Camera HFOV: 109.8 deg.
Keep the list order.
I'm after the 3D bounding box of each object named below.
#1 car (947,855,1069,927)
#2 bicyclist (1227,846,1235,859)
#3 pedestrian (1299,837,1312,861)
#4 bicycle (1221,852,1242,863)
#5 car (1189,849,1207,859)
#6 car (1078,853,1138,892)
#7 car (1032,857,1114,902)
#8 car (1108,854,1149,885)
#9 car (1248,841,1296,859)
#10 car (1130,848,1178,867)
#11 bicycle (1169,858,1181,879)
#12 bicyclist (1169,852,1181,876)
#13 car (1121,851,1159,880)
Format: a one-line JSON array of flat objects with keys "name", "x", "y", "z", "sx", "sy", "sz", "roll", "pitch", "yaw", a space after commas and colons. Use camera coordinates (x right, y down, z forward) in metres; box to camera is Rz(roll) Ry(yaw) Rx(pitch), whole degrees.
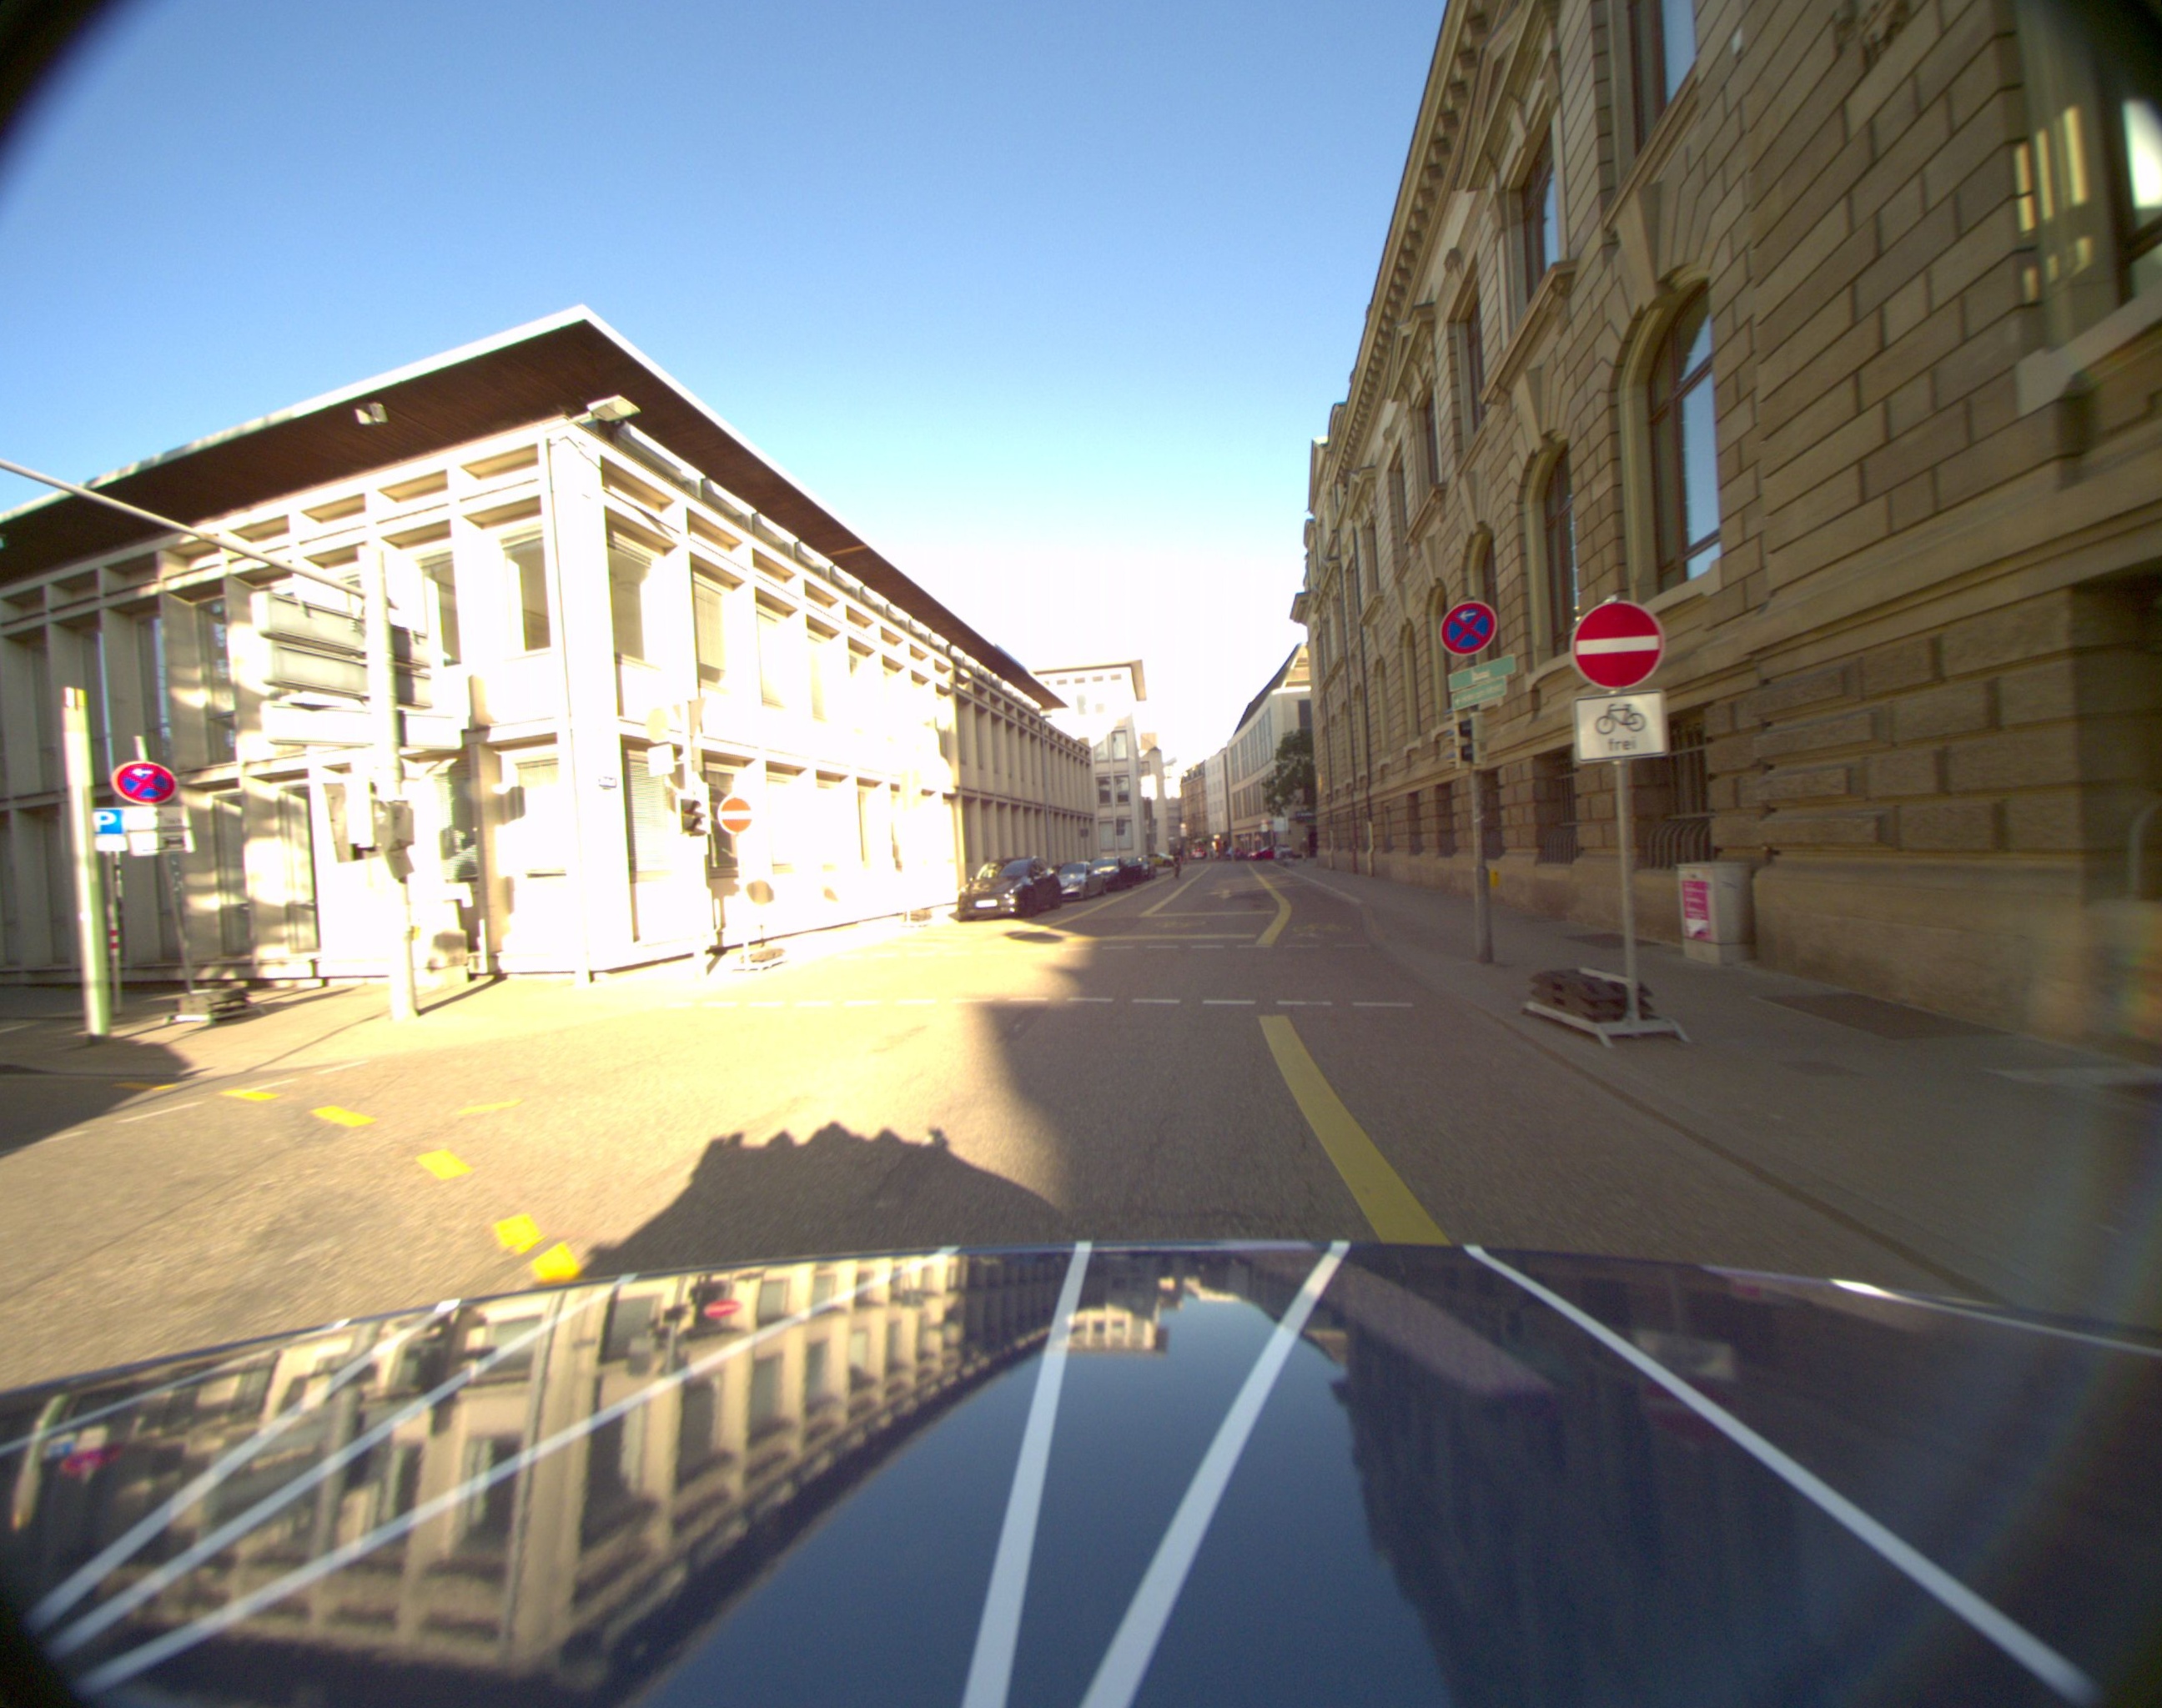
[{"name": "car", "x": -1.842, "y": 0.923, "z": 20.960, "sx": 1.897, "sy": 1.614, "sz": 4.625, "roll": -4, "pitch": 0, "yaw": 13}, {"name": "bicyclist", "x": 14.315, "y": -0.140, "z": 72.592, "sx": 0.612, "sy": 1.281, "sz": 0.539, "roll": -4, "pitch": 0, "yaw": 11}, {"name": "pedestrian", "x": 16.845, "y": -0.387, "z": 56.937, "sx": 0.764, "sy": 1.769, "sz": 0.623, "roll": -4, "pitch": 1, "yaw": 12}, {"name": "bicycle", "x": 14.355, "y": 0.328, "z": 72.637, "sx": 1.870, "sy": 0.905, "sz": 0.535, "roll": -4, "pitch": 5, "yaw": 10}, {"name": "car", "x": 18.493, "y": -0.048, "z": 120.454, "sx": 2.054, "sy": 1.482, "sz": 4.271, "roll": -3, "pitch": 0, "yaw": 0}, {"name": "car", "x": 1.271, "y": 0.756, "z": 33.386, "sx": 1.699, "sy": 1.462, "sz": 4.795, "roll": -4, "pitch": 0, "yaw": 12}, {"name": "car", "x": -0.178, "y": 0.865, "z": 27.553, "sx": 1.699, "sy": 1.336, "sz": 4.602, "roll": -4, "pitch": 0, "yaw": 15}, {"name": "car", "x": 2.504, "y": 0.751, "z": 39.294, "sx": 1.630, "sy": 1.391, "sz": 3.889, "roll": -4, "pitch": 0, "yaw": 10}, {"name": "car", "x": 19.053, "y": -0.389, "z": 75.894, "sx": 4.268, "sy": 1.462, "sz": 1.632, "roll": -3, "pitch": 0, "yaw": -1}, {"name": "car", "x": 7.021, "y": 0.323, "z": 73.254, "sx": 4.246, "sy": 1.483, "sz": 1.858, "roll": -4, "pitch": 0, "yaw": 18}, {"name": "bicycle", "x": 5.199, "y": 0.788, "z": 41.862, "sx": 0.534, "sy": 1.060, "sz": 1.426, "roll": -4, "pitch": 0, "yaw": 10}, {"name": "bicyclist", "x": 5.193, "y": 0.535, "z": 41.895, "sx": 0.537, "sy": 1.281, "sz": 0.552, "roll": -4, "pitch": 0, "yaw": 10}, {"name": "car", "x": 3.504, "y": 0.663, "z": 44.572, "sx": 1.696, "sy": 1.483, "sz": 4.257, "roll": -4, "pitch": 0, "yaw": 11}]
